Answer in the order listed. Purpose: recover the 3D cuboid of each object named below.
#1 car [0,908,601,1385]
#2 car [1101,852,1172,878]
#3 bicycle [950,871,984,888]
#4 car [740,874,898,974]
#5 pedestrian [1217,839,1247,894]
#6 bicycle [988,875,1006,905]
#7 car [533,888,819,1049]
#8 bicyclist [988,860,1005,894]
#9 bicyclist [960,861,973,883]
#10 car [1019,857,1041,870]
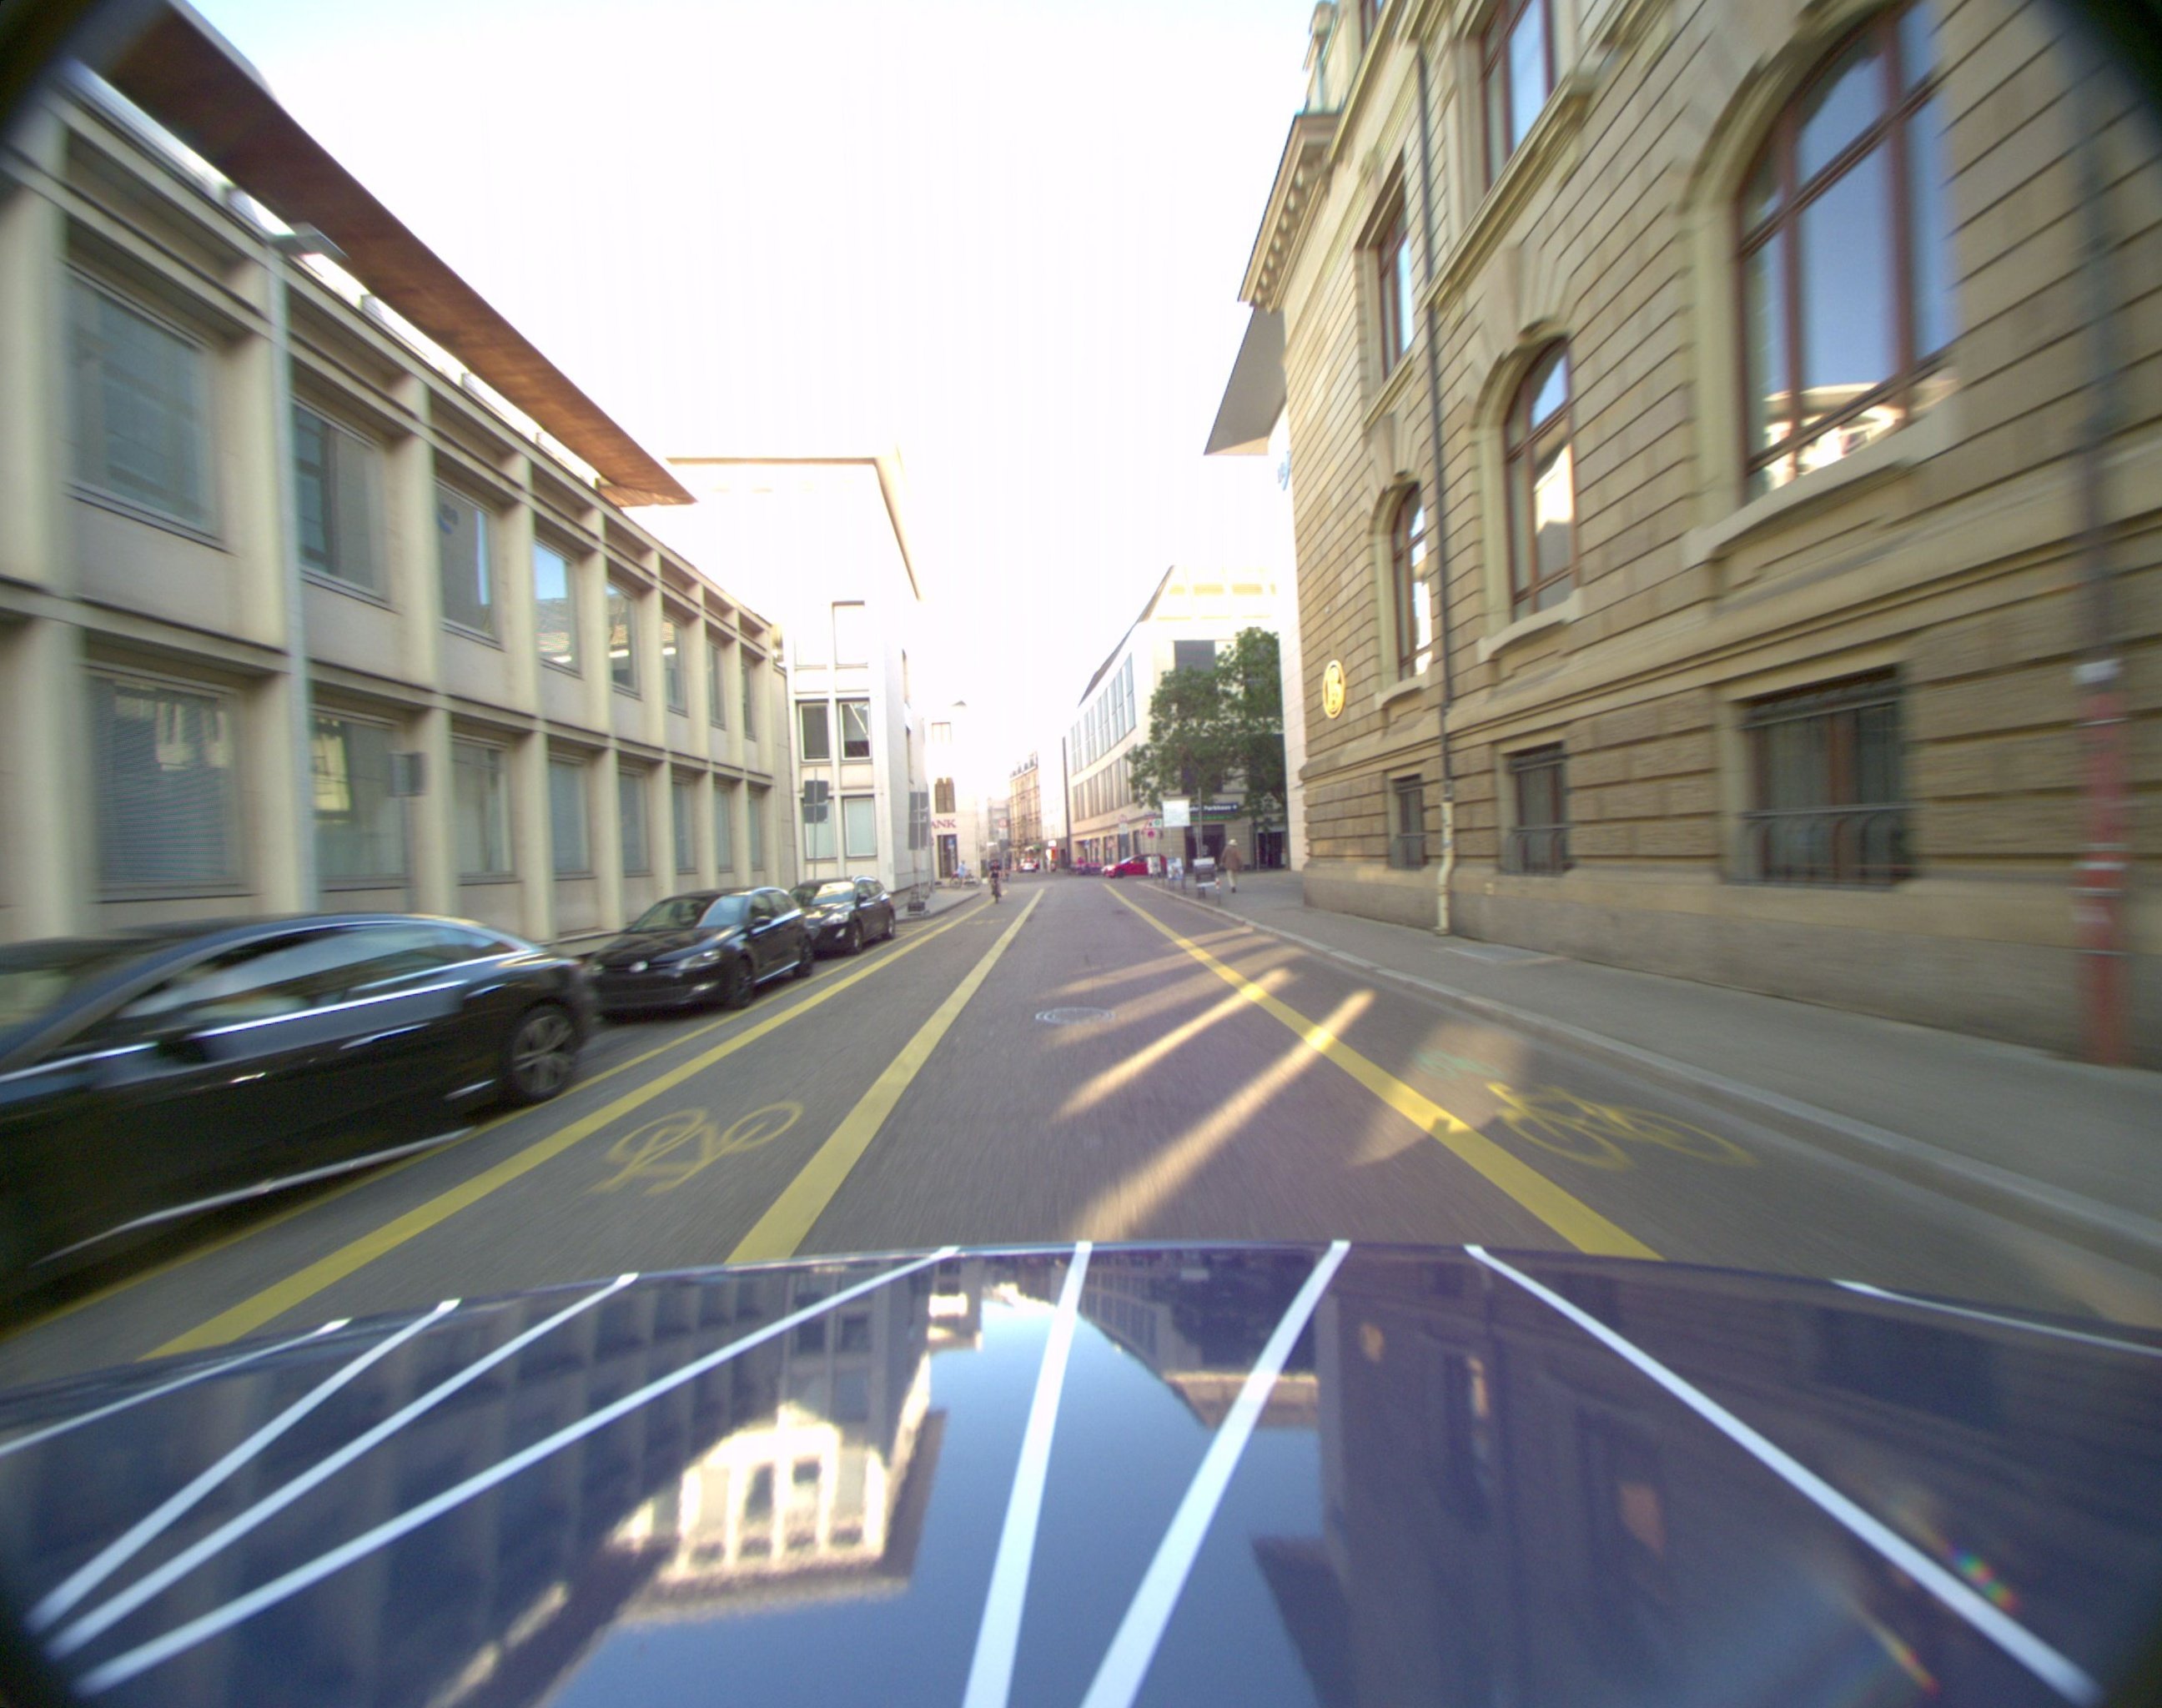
[{"bbox_3d":[-4.770,1.222,3.746,1.701,1.462,4.791,-3,0,0],"label":"car"},{"bbox_3d":[3.575,0.708,49.073,4.272,1.462,1.631,-3,0,-13],"label":"car"},{"bbox_3d":[-6.778,1.510,45.245,1.872,0.904,0.535,-3,1,-1],"label":"bicycle"},{"bbox_3d":[-4.989,1.253,15.141,1.698,1.483,4.253,-3,0,-2],"label":"car"},{"bbox_3d":[5.000,0.411,25.224,0.765,1.769,0.622,-3,1,0],"label":"pedestrian"},{"bbox_3d":[-3.258,1.374,29.431,0.535,1.060,1.425,-3,0,-2],"label":"bicycle"},{"bbox_3d":[-4.835,1.265,9.775,1.632,1.391,3.885,-3,0,-2],"label":"car"},{"bbox_3d":[-3.297,0.896,29.602,0.538,1.281,0.551,-3,1,-2],"label":"bicyclist"},{"bbox_3d":[-6.815,1.077,45.243,0.613,1.281,0.538,-3,1,-1],"label":"bicyclist"},{"bbox_3d":[-6.222,1.160,92.475,2.056,1.482,4.267,-3,0,-12],"label":"car"}]
